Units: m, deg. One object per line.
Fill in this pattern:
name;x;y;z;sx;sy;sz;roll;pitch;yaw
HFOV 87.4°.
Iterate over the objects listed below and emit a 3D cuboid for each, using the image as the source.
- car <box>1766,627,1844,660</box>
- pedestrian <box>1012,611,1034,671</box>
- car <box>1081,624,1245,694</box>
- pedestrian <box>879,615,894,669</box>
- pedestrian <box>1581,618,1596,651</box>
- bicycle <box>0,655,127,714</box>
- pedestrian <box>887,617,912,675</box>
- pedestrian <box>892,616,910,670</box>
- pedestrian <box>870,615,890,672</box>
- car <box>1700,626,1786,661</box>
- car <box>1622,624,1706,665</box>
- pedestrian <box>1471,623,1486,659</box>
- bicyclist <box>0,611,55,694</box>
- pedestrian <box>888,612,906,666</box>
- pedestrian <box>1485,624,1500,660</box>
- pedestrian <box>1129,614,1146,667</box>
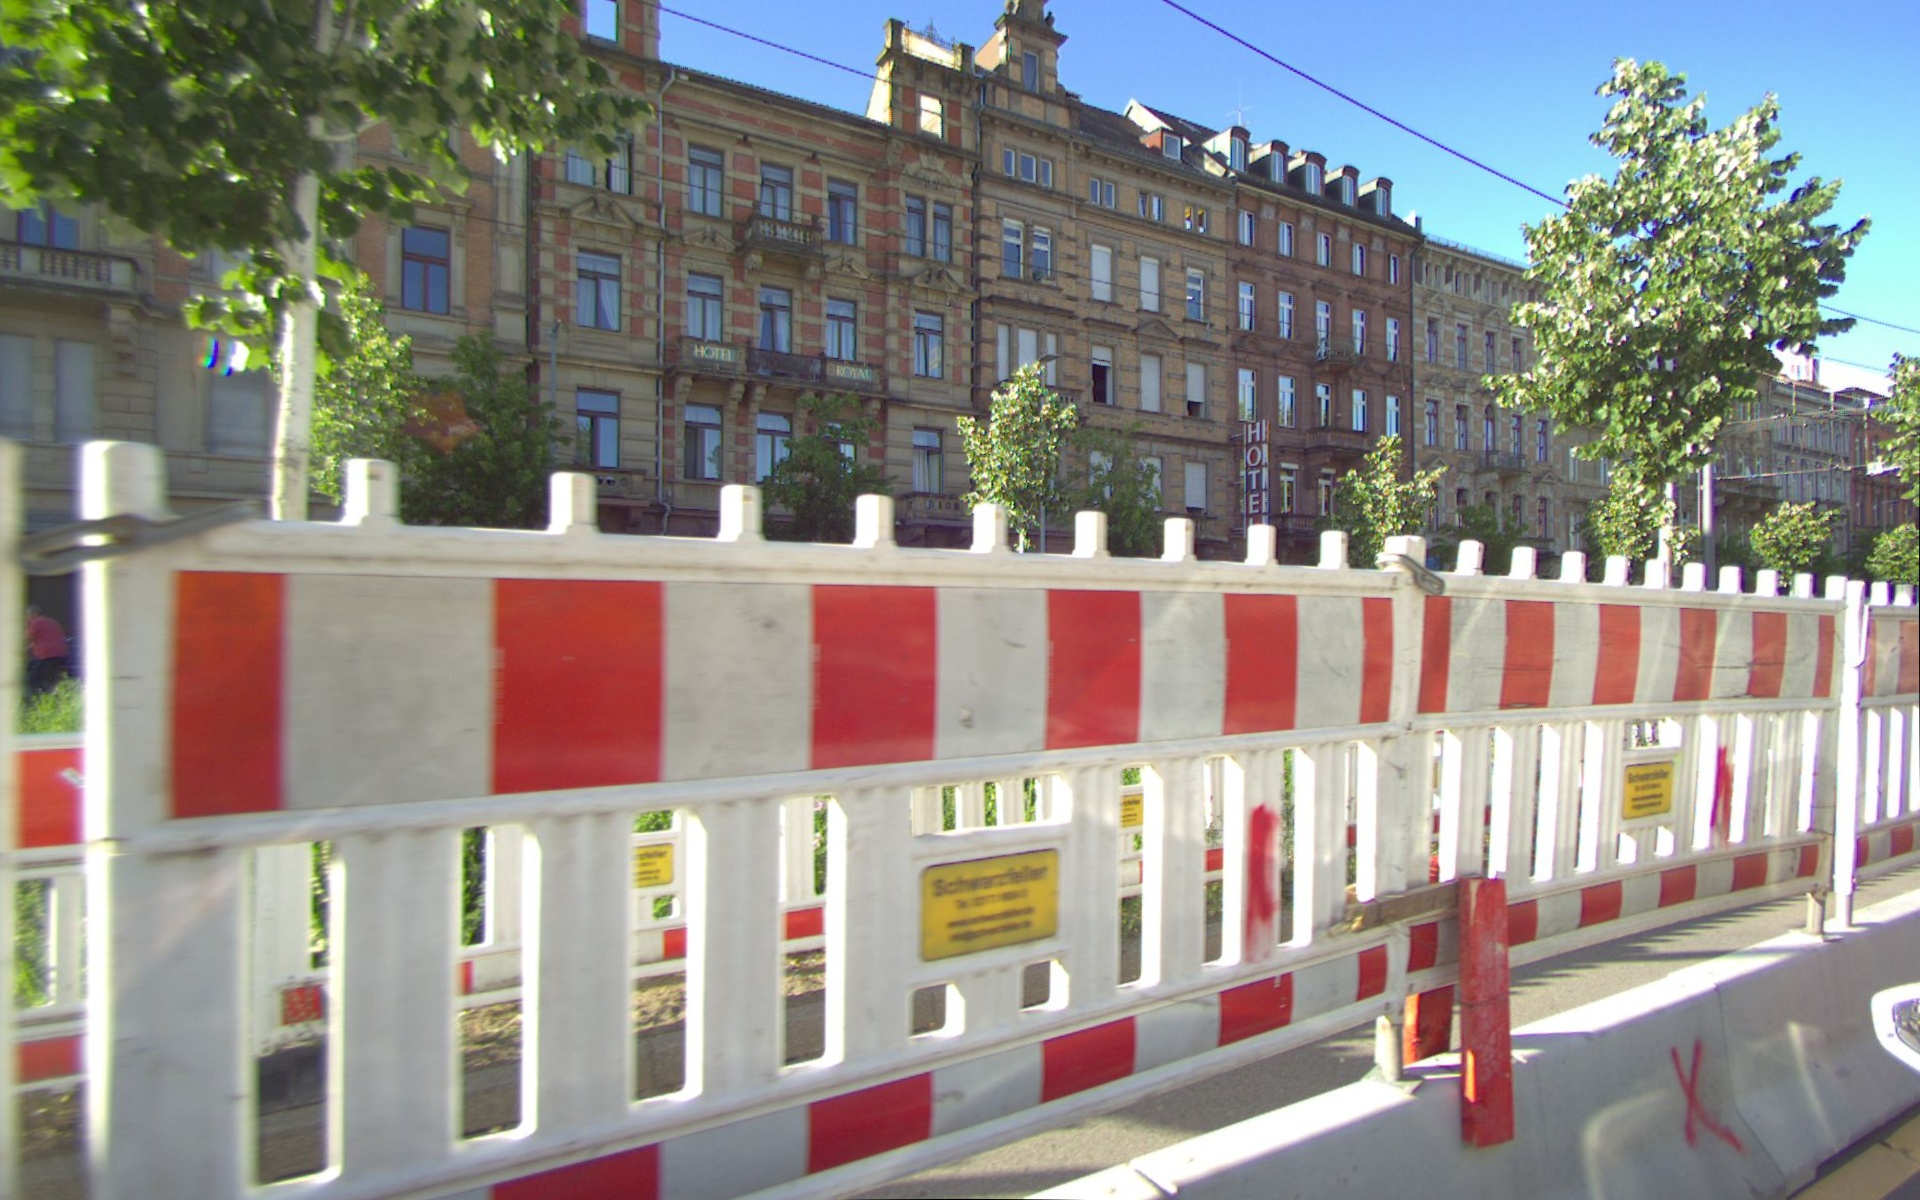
car;42.282;2.136;50.239;4.660;1.583;1.559;1;-2;-31
pedestrian;1.922;1.250;30.693;0.401;1.788;0.505;1;1;-30
car;4.719;1.327;23.326;3.578;1.502;1.588;1;-1;-29
pedestrian;-2.263;1.279;30.745;0.383;1.606;0.386;2;1;1
pedestrian;31.082;1.679;49.657;0.431;1.606;0.457;1;1;-36
bicycle;-14.395;1.313;15.696;2.006;0.869;0.634;1;-1;-29
pedestrian;-1.714;1.306;28.415;0.527;1.606;0.484;1;1;-30
pedestrian;-1.772;1.281;30.350;0.361;1.606;0.406;2;1;21
pedestrian;-2.317;1.258;28.988;0.421;1.606;0.401;1;1;-30
car;36.671;2.018;47.025;4.659;1.583;1.559;1;-2;-31
car;30.447;1.884;43.455;3.764;1.697;1.559;1;-2;-30
pedestrian;23.557;1.868;45.638;0.381;1.606;0.431;1;1;-33
bicyclist;-14.626;0.802;15.577;0.729;1.256;0.634;1;-1;-29
pedestrian;-1.917;1.175;30.670;0.474;1.606;0.482;2;1;3
pedestrian;23.928;1.888;45.142;0.335;1.606;0.427;1;1;-29
pedestrian;6.168;1.405;34.859;0.401;1.788;0.365;1;1;-30
